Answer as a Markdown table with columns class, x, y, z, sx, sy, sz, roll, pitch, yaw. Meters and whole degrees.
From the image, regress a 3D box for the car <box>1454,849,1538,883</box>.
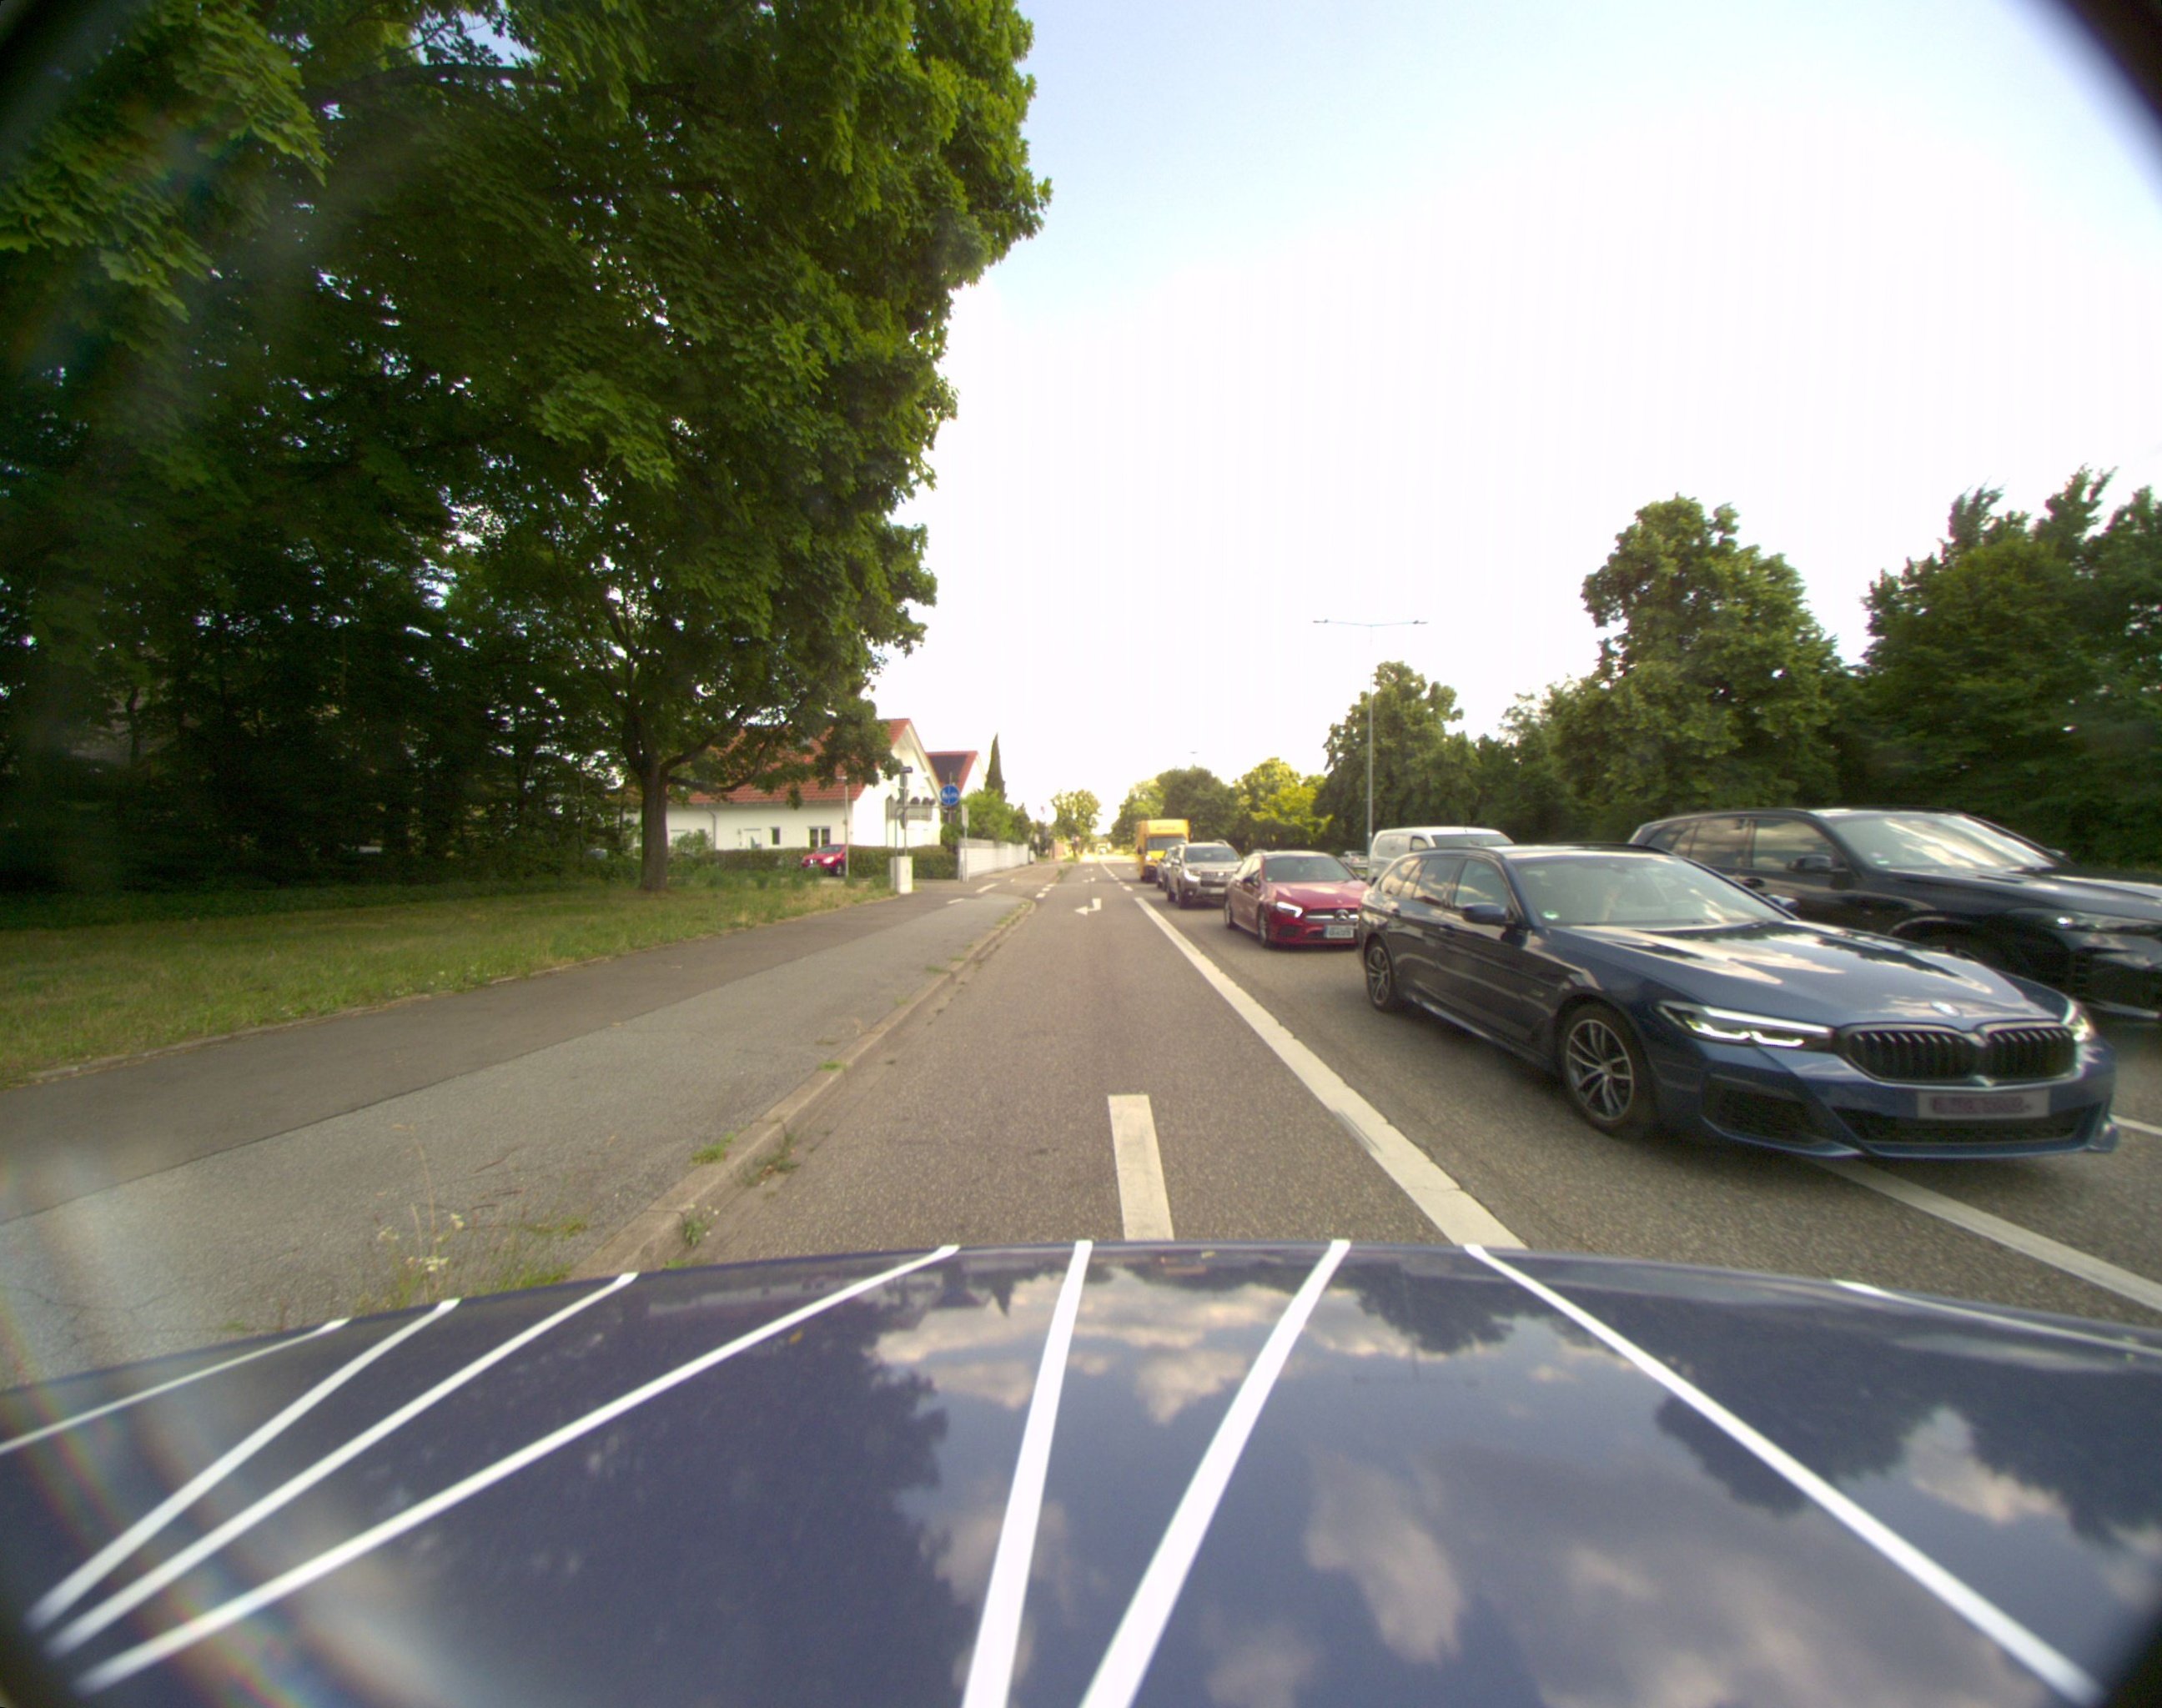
| class | x | y | z | sx | sy | sz | roll | pitch | yaw |
| --- | --- | --- | --- | --- | --- | --- | --- | --- | --- |
| car | 19.124 | 0.510 | 35.205 | 1.531 | 1.449 | 4.205 | 0 | 1 | -1 |

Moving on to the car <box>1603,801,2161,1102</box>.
| class | x | y | z | sx | sy | sz | roll | pitch | yaw |
| --- | --- | --- | --- | --- | --- | --- | --- | --- | --- |
| car | 7.005 | 0.507 | 6.637 | 1.817 | 1.736 | 4.549 | -1 | 1 | 1 |

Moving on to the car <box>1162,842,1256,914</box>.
| class | x | y | z | sx | sy | sz | roll | pitch | yaw |
| --- | --- | --- | --- | --- | --- | --- | --- | --- | --- |
| car | 3.189 | 0.533 | 19.667 | 1.727 | 1.603 | 4.175 | -1 | 1 | 1 |

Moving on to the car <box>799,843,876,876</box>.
| class | x | y | z | sx | sy | sz | roll | pitch | yaw |
| --- | --- | --- | --- | --- | --- | --- | --- | --- | --- |
| car | -11.857 | 0.242 | 37.350 | 1.679 | 1.521 | 4.397 | 0 | 0 | 11 |

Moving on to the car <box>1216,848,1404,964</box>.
| class | x | y | z | sx | sy | sz | roll | pitch | yaw |
| --- | --- | --- | --- | --- | --- | --- | --- | --- | --- |
| car | 3.458 | 0.679 | 12.406 | 1.727 | 1.454 | 4.535 | -2 | 1 | 1 |

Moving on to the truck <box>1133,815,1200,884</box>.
| class | x | y | z | sx | sy | sz | roll | pitch | yaw |
| --- | --- | --- | --- | --- | --- | --- | --- | --- | --- |
| truck | 3.888 | -0.235 | 35.845 | 2.363 | 2.843 | 6.966 | -2 | 1 | 1 |

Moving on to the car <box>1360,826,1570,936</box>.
| class | x | y | z | sx | sy | sz | roll | pitch | yaw |
| --- | --- | --- | --- | --- | --- | --- | --- | --- | --- |
| car | 7.228 | 0.400 | 14.944 | 1.770 | 1.788 | 4.730 | -1 | 1 | 1 |

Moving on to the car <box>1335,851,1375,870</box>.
| class | x | y | z | sx | sy | sz | roll | pitch | yaw |
| --- | --- | --- | --- | --- | --- | --- | --- | --- | --- |
| car | 19.808 | 0.453 | 55.075 | 1.465 | 1.363 | 3.658 | 0 | 1 | -1 |

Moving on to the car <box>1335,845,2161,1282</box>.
| class | x | y | z | sx | sy | sz | roll | pitch | yaw |
| --- | --- | --- | --- | --- | --- | --- | --- | --- | --- |
| car | 3.432 | 0.735 | 5.169 | 1.801 | 1.488 | 4.872 | -2 | 1 | 1 |

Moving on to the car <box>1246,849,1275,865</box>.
| class | x | y | z | sx | sy | sz | roll | pitch | yaw |
| --- | --- | --- | --- | --- | --- | --- | --- | --- | --- |
| car | 16.730 | 0.272 | 70.990 | 1.672 | 1.416 | 4.238 | 0 | 1 | 1 |

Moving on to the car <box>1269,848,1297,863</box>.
| class | x | y | z | sx | sy | sz | roll | pitch | yaw |
| --- | --- | --- | --- | --- | --- | --- | --- | --- | --- |
| car | 20.212 | 0.102 | 76.092 | 1.672 | 1.379 | 4.237 | 1 | 1 | 1 |

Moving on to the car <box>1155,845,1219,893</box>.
| class | x | y | z | sx | sy | sz | roll | pitch | yaw |
| --- | --- | --- | --- | --- | --- | --- | --- | --- | --- |
| car | 3.676 | 0.470 | 26.952 | 1.727 | 1.522 | 3.893 | -2 | 1 | 1 |
